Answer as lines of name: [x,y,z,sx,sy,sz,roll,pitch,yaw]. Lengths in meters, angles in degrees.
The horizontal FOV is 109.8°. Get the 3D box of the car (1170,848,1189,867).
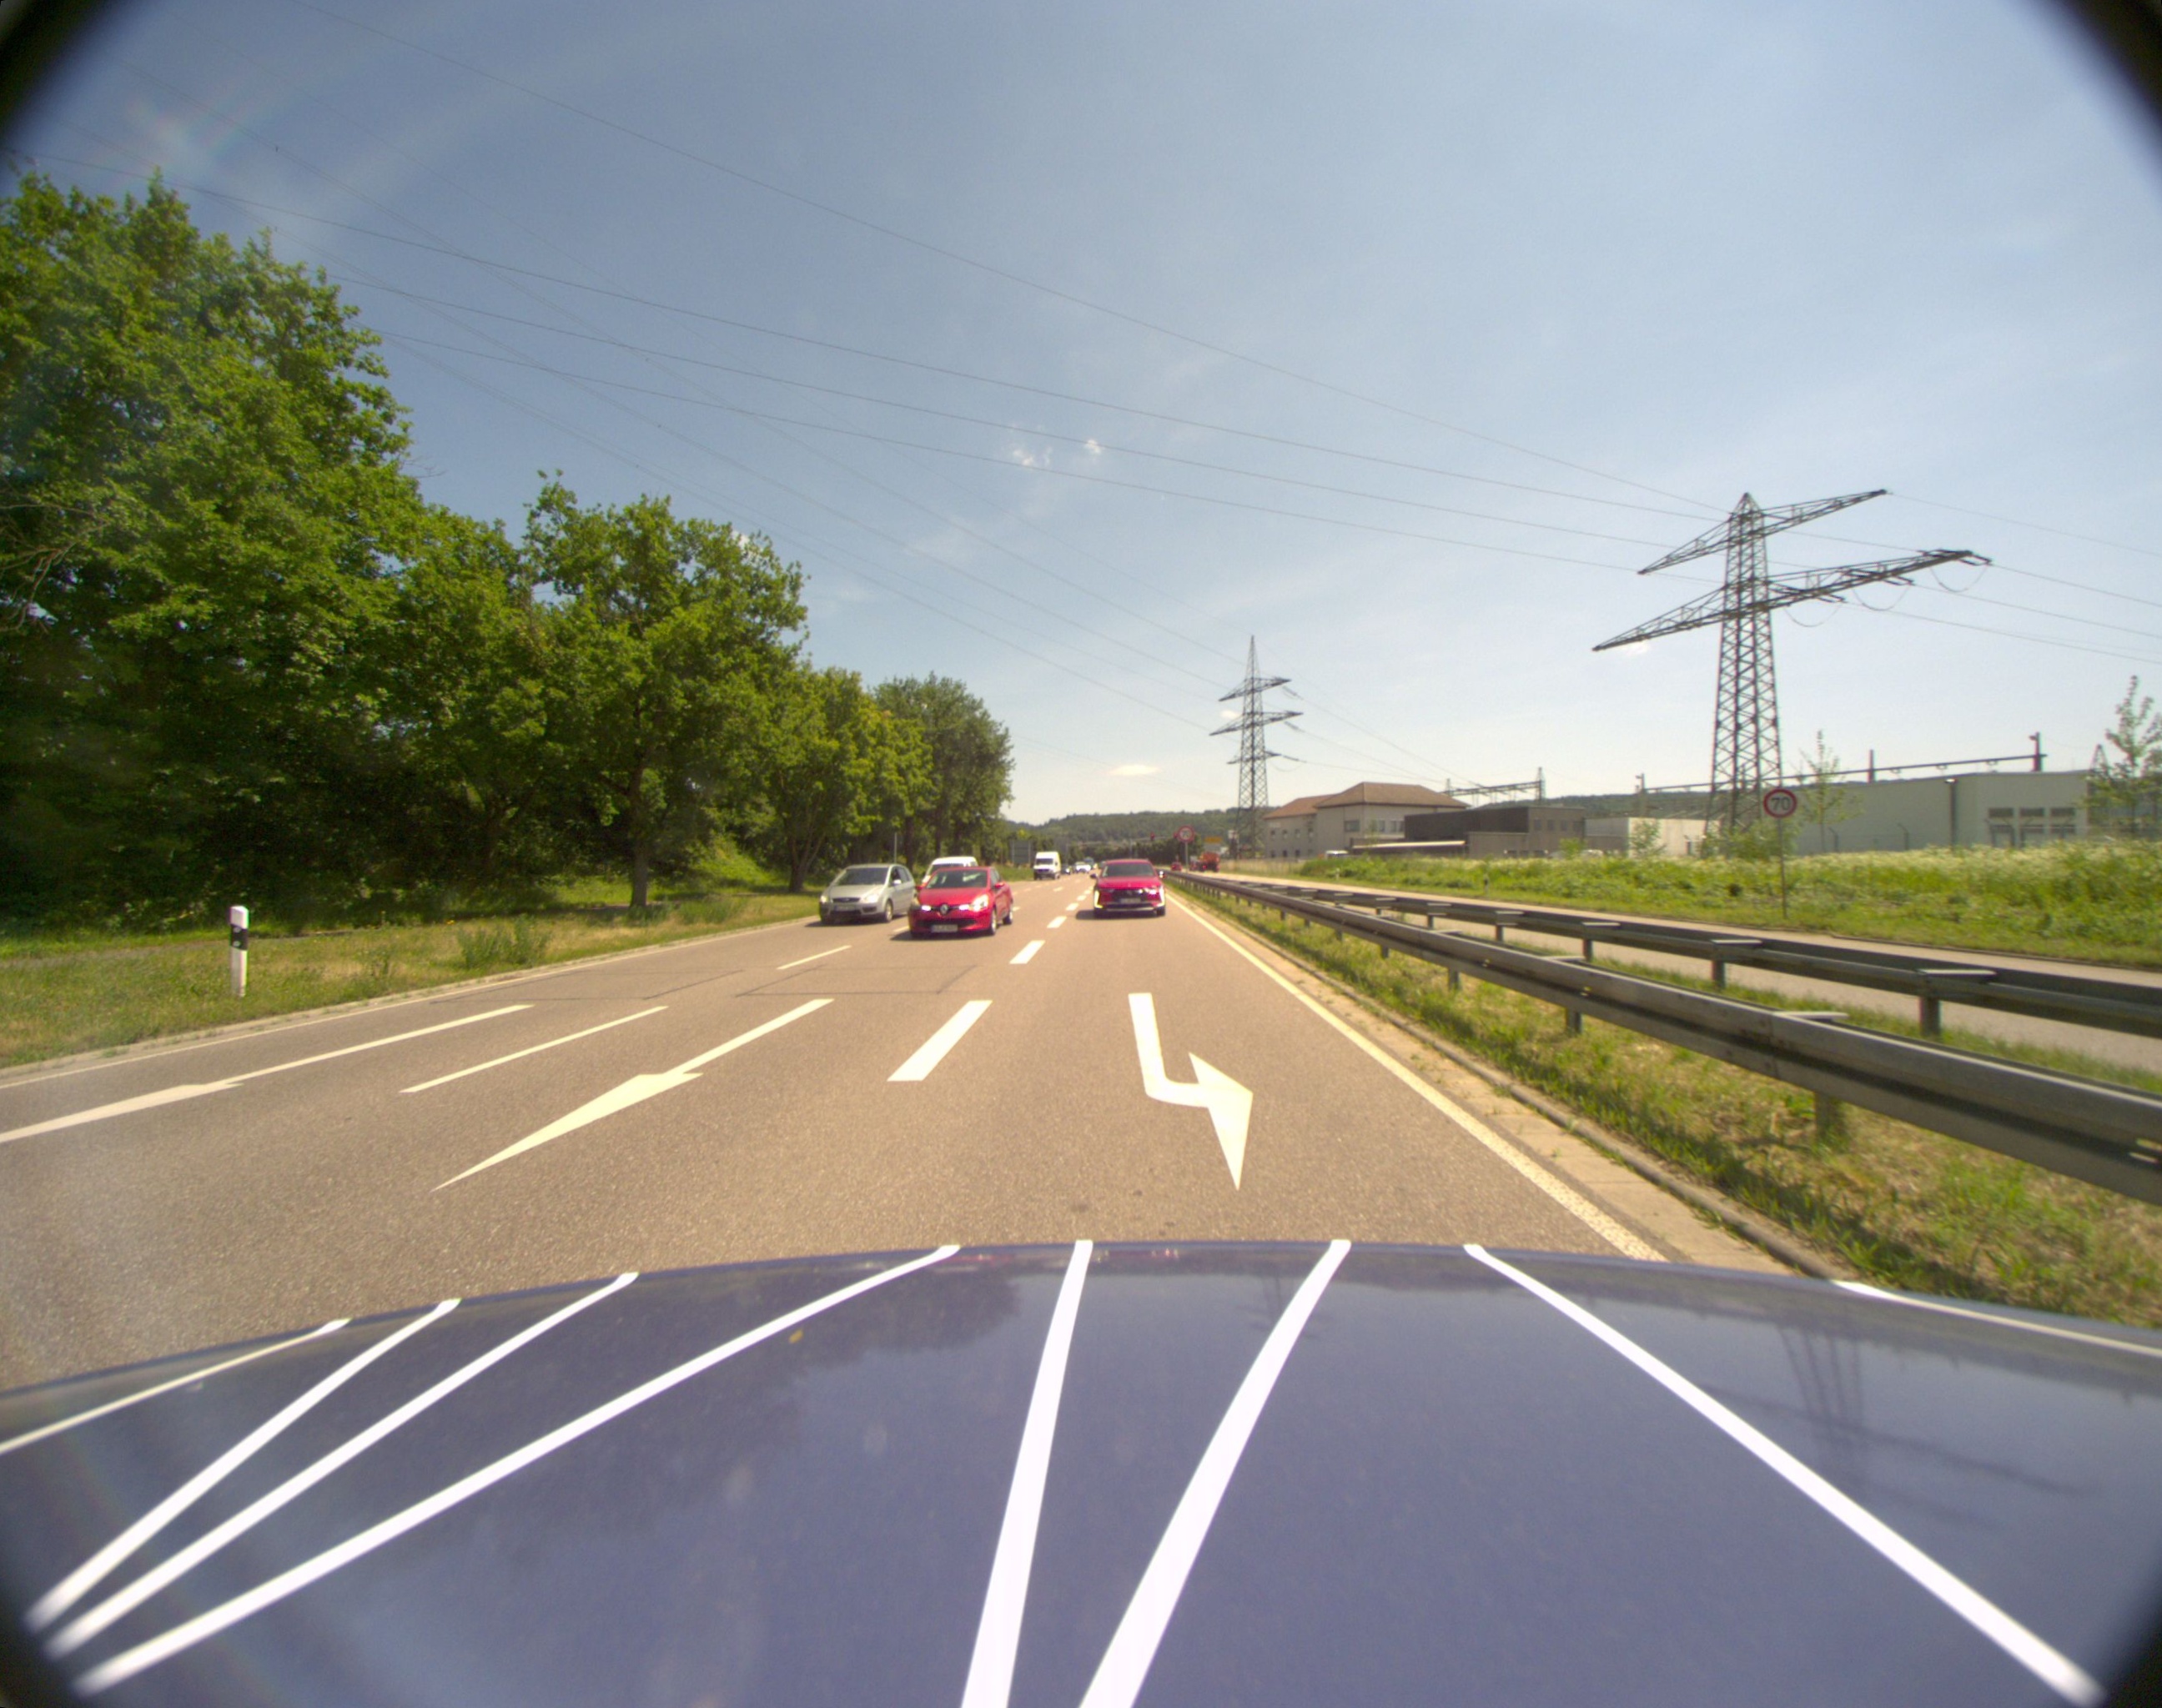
car: [15.968,0.539,123.786,2.606,3.043,5.640,0,0,2]

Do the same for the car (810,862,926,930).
car: [-5.750,1.077,21.065,1.747,1.585,4.273,-2,0,3]

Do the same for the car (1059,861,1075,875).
car: [-1.786,1.784,98.313,1.878,1.674,4.000,-2,1,1]

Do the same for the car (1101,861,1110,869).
car: [5.616,2.493,172.108,1.878,1.674,4.000,-2,1,1]

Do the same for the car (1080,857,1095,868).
car: [0.964,1.194,110.896,1.850,1.559,4.364,-2,0,3]

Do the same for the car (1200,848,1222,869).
car: [19.872,0.693,116.232,2.606,3.043,5.640,0,0,2]

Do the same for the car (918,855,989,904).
car: [-5.203,0.988,31.586,1.809,1.790,5.039,-2,0,3]

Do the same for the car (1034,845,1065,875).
car: [-2.929,0.536,72.476,2.232,2.592,7.020,-2,0,3]

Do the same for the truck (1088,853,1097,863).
truck: [2.875,1.007,185.626,2.170,2.428,4.910,-2,1,1]

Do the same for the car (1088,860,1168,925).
car: [1.252,0.926,20.254,1.846,1.453,4.415,-2,0,3]

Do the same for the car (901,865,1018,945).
car: [-2.537,1.028,16.841,1.747,1.453,4.066,-2,0,2]

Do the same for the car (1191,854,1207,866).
car: [20.050,1.028,129.057,1.999,1.904,3.999,-2,1,-1]
